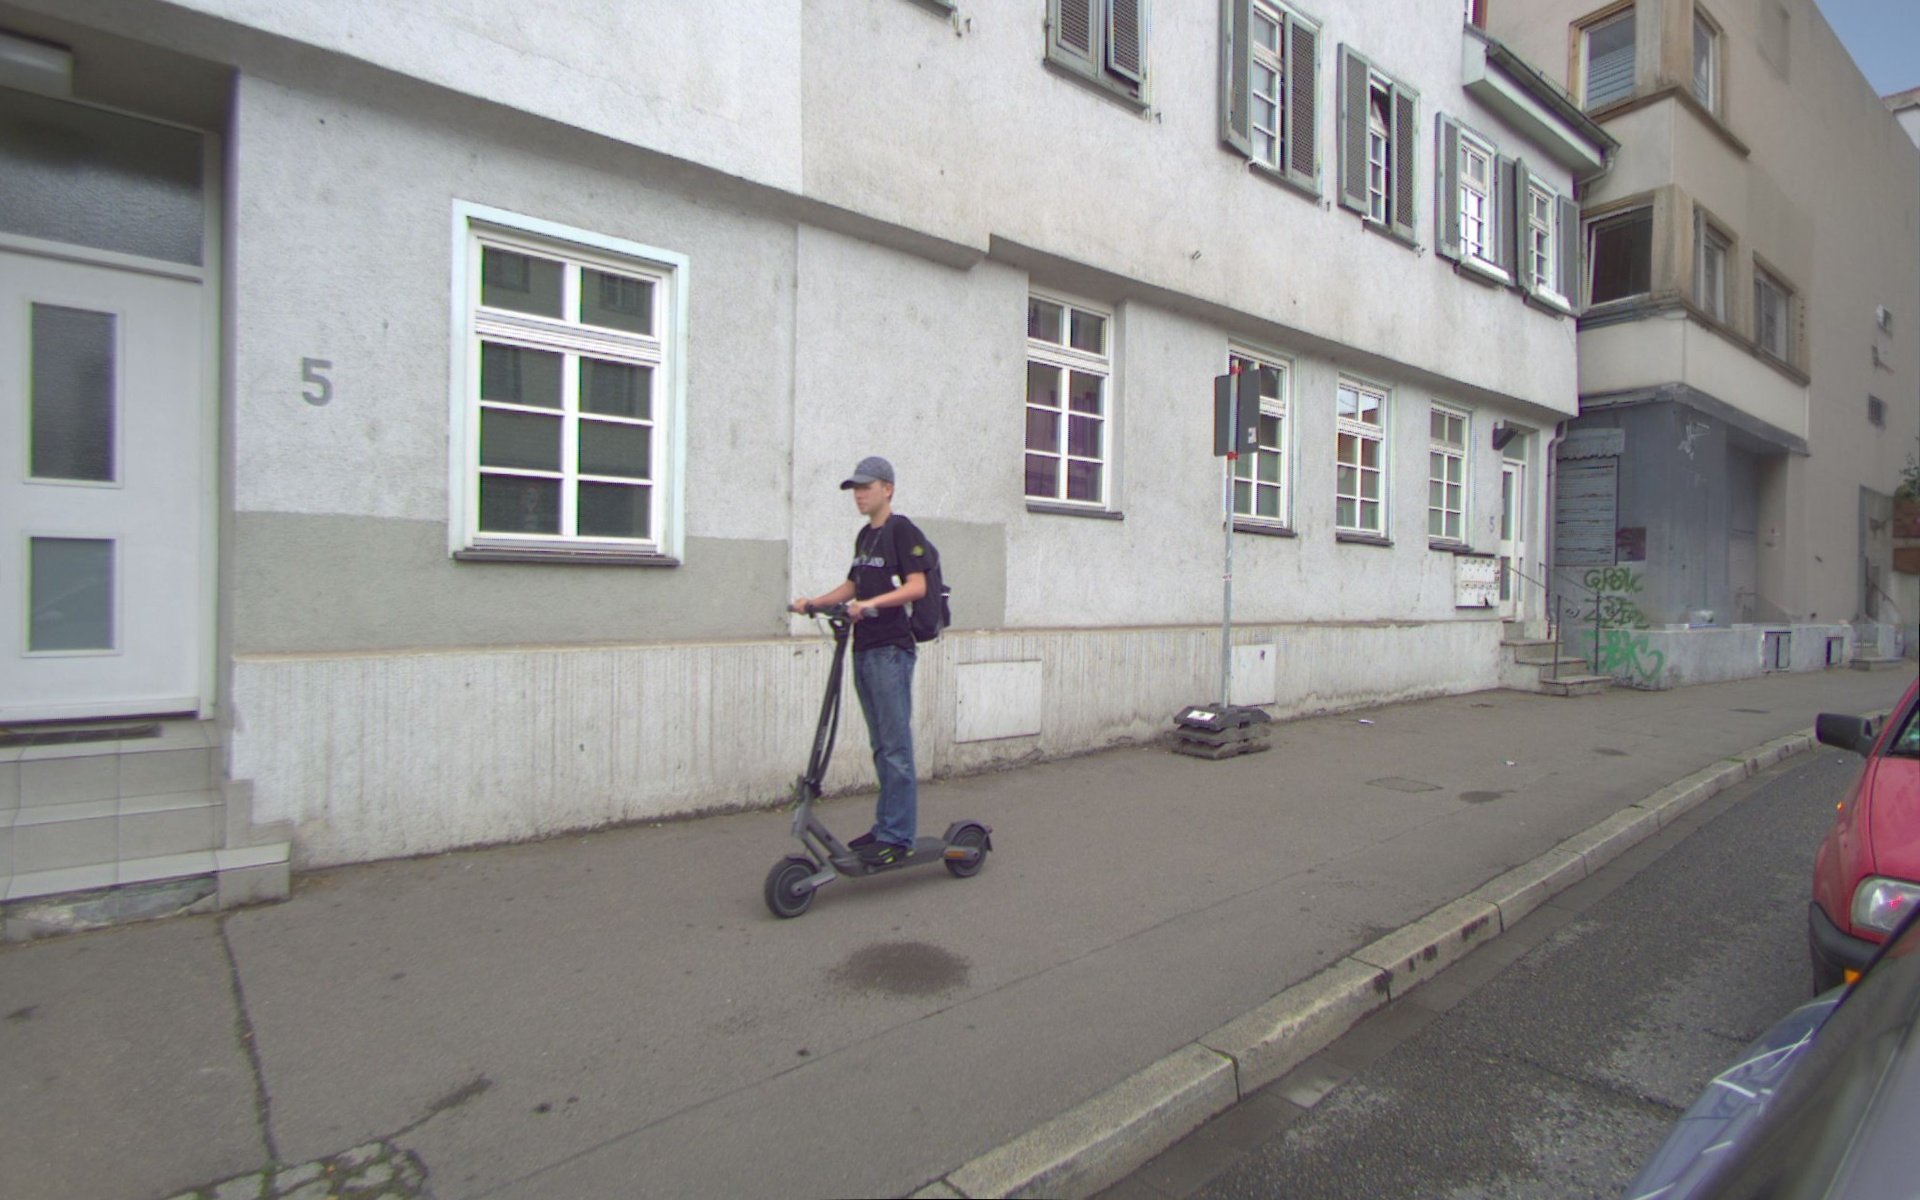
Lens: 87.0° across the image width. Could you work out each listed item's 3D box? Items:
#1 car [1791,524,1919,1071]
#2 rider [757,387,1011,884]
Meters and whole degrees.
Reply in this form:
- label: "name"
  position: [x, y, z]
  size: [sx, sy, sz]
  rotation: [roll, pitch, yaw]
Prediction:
- label: "car"
  position: [4.418, 0.544, 3.507]
  size: [3.930, 1.443, 1.791]
  rotation: [1, 0, -42]
- label: "rider"
  position: [-0.329, 0.125, 4.340]
  size: [0.783, 1.870, 0.719]
  rotation: [1, 1, -41]
